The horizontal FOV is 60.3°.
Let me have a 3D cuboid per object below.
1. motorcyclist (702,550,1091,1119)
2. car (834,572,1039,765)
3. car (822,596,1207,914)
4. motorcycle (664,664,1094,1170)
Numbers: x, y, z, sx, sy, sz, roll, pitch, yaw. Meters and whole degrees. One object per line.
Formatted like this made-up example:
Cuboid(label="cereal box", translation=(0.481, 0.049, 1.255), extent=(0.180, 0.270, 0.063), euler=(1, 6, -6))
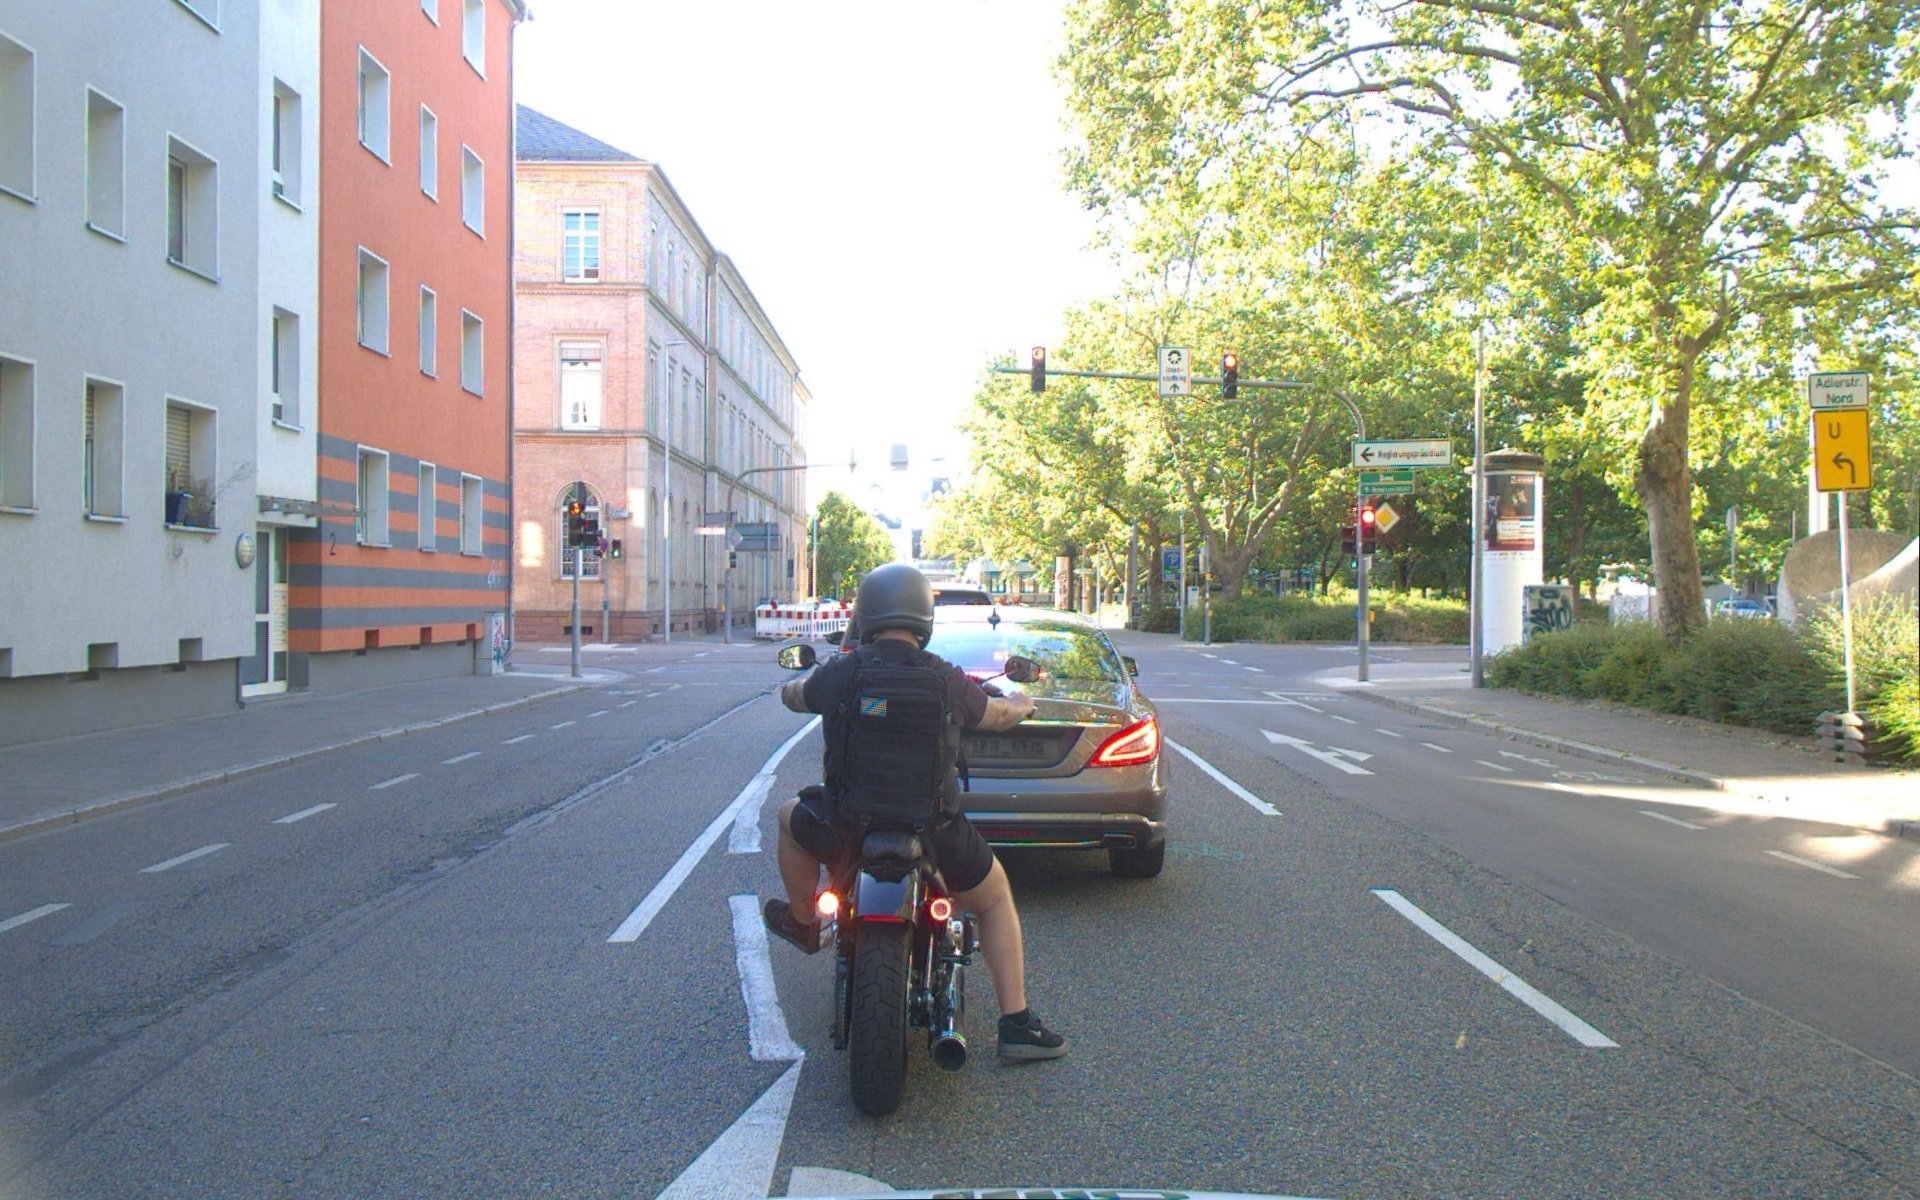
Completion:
Cuboid(label="motorcyclist", translation=(-0.145, 0.664, 5.263), extent=(1.076, 1.593, 1.072), euler=(1, 0, 5))
Cuboid(label="car", translation=(-0.243, 0.626, 16.928), extent=(1.825, 1.707, 3.999), euler=(1, 0, -1))
Cuboid(label="car", translation=(0.230, 0.734, 9.656), extent=(1.785, 1.462, 3.805), euler=(1, 0, -1))
Cuboid(label="motorcycle", translation=(-0.132, 0.875, 5.484), extent=(1.094, 1.228, 2.213), euler=(1, 0, 5))
